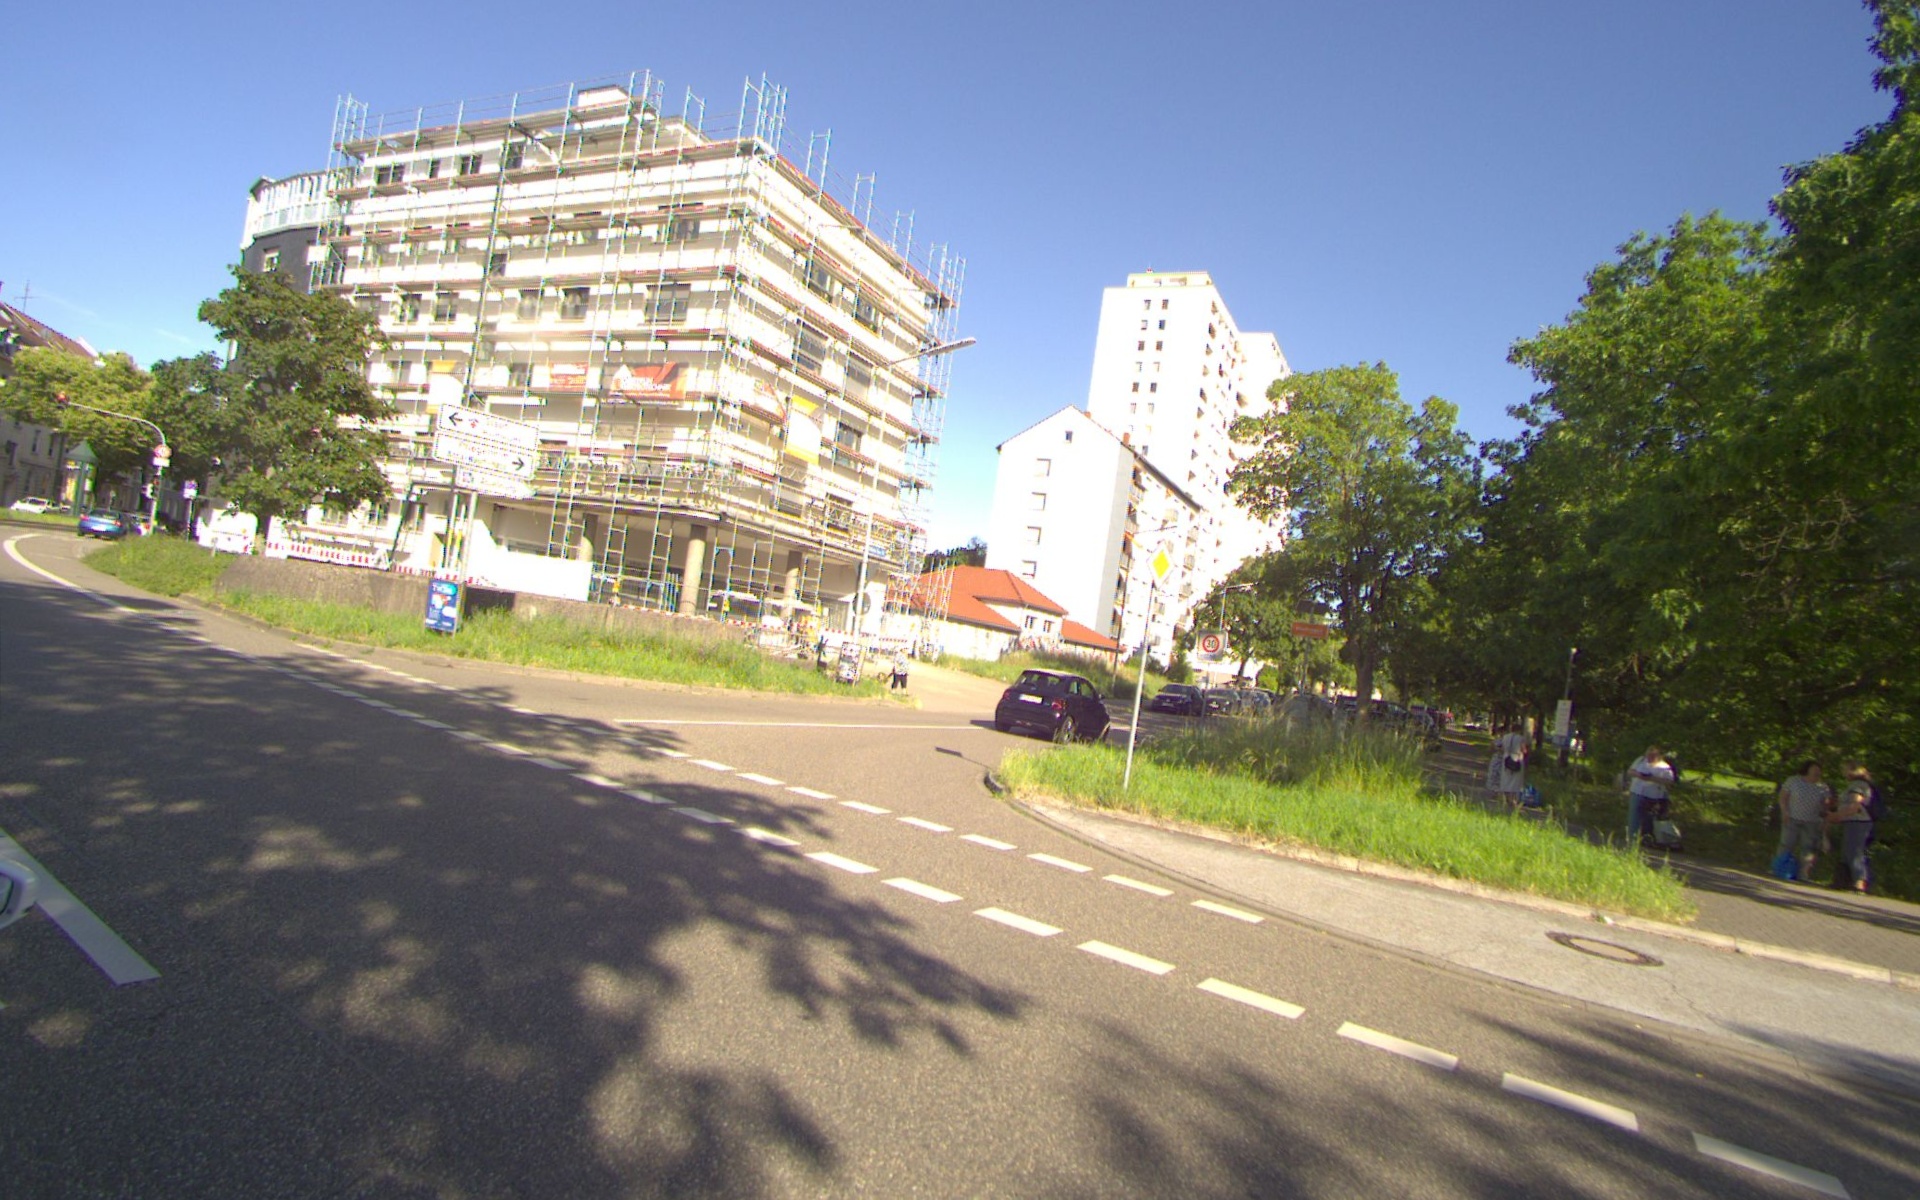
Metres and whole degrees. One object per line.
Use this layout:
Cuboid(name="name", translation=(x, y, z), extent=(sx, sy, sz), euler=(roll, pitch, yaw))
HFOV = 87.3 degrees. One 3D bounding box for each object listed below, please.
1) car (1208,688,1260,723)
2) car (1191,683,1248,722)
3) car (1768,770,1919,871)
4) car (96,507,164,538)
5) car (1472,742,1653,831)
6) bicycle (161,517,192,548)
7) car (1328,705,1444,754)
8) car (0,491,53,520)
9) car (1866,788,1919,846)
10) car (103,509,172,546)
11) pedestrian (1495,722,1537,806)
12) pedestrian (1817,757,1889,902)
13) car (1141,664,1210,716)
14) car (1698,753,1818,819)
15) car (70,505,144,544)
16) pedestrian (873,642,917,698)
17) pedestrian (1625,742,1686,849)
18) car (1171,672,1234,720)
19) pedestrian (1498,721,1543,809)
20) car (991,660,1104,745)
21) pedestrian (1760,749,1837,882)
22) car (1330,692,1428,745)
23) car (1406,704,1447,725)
Cuboid(name="car", translation=(16.586, 6.375, 60.694), extent=(1.966, 1.679, 4.001), euler=(6, -4, 30))
Cuboid(name="car", translation=(14.495, 5.727, 56.012), extent=(1.966, 1.679, 4.001), euler=(6, -4, 30))
Cuboid(name="car", translation=(20.330, 4.906, 21.163), extent=(4.809, 1.554, 1.999), euler=(10, -3, 33))
Cuboid(name="car", translation=(-61.409, -5.746, 74.440), extent=(3.925, 1.612, 1.913), euler=(8, -2, 17))
Cuboid(name="car", translation=(16.282, 4.990, 27.283), extent=(3.936, 1.624, 1.998), euler=(6, -4, 34))
Cuboid(name="bicycle", translation=(-43.204, -3.689, 55.508), extent=(0.568, 1.528, 2.790), euler=(9, -2, -26))
Cuboid(name="car", translation=(17.435, 5.292, 41.240), extent=(3.941, 1.311, 1.996), euler=(5, -5, 38))
Cuboid(name="car", translation=(-66.884, -6.740, 72.015), extent=(1.775, 1.499, 3.512), euler=(9, -2, -24))
Cuboid(name="car", translation=(32.680, 7.444, 32.953), extent=(1.967, 1.620, 3.995), euler=(9, -1, -8))
Cuboid(name="car", translation=(-43.575, -3.808, 53.394), extent=(1.804, 1.525, 3.975), euler=(9, -2, -26))
Cuboid(name="pedestrian", translation=(11.514, 3.384, 20.844), extent=(0.557, 1.637, 0.599), euler=(7, -3, 25))
Cuboid(name="pedestrian", translation=(11.410, 2.909, 12.864), extent=(0.403, 1.719, 0.603), euler=(8, -1, 30))
Cuboid(name="car", translation=(10.169, 4.286, 47.333), extent=(1.965, 2.036, 4.000), euler=(7, -3, 28))
Cuboid(name="car", translation=(21.530, 4.986, 27.281), extent=(1.594, 1.288, 3.654), euler=(5, -4, 24))
Cuboid(name="car", translation=(-41.446, -3.654, 48.971), extent=(1.761, 1.458, 3.594), euler=(10, -2, -27))
Cuboid(name="pedestrian", translation=(-1.888, 2.055, 29.451), extent=(0.892, 1.514, 0.652), euler=(8, -1, 22))
Cuboid(name="pedestrian", translation=(10.868, 3.033, 15.739), extent=(0.603, 1.535, 0.528), euler=(7, -2, 33))
Cuboid(name="car", translation=(12.603, 4.987, 52.130), extent=(1.966, 2.035, 4.001), euler=(6, -4, 30))
Cuboid(name="pedestrian", translation=(11.152, 3.271, 20.030), extent=(0.557, 1.637, 0.706), euler=(7, -3, 25))
Cuboid(name="car", translation=(2.061, 2.291, 22.756), extent=(1.648, 1.520, 3.567), euler=(8, -2, 17))
Cuboid(name="pedestrian", translation=(11.315, 2.883, 13.596), extent=(0.542, 1.653, 0.623), euler=(7, -1, 31))
Cuboid(name="car", translation=(22.140, 6.259, 53.188), extent=(4.281, 2.096, 1.998), euler=(7, -2, 33))
Cuboid(name="car", translation=(51.086, 12.497, 110.191), extent=(3.930, 1.673, 2.001), euler=(6, -4, 28))
